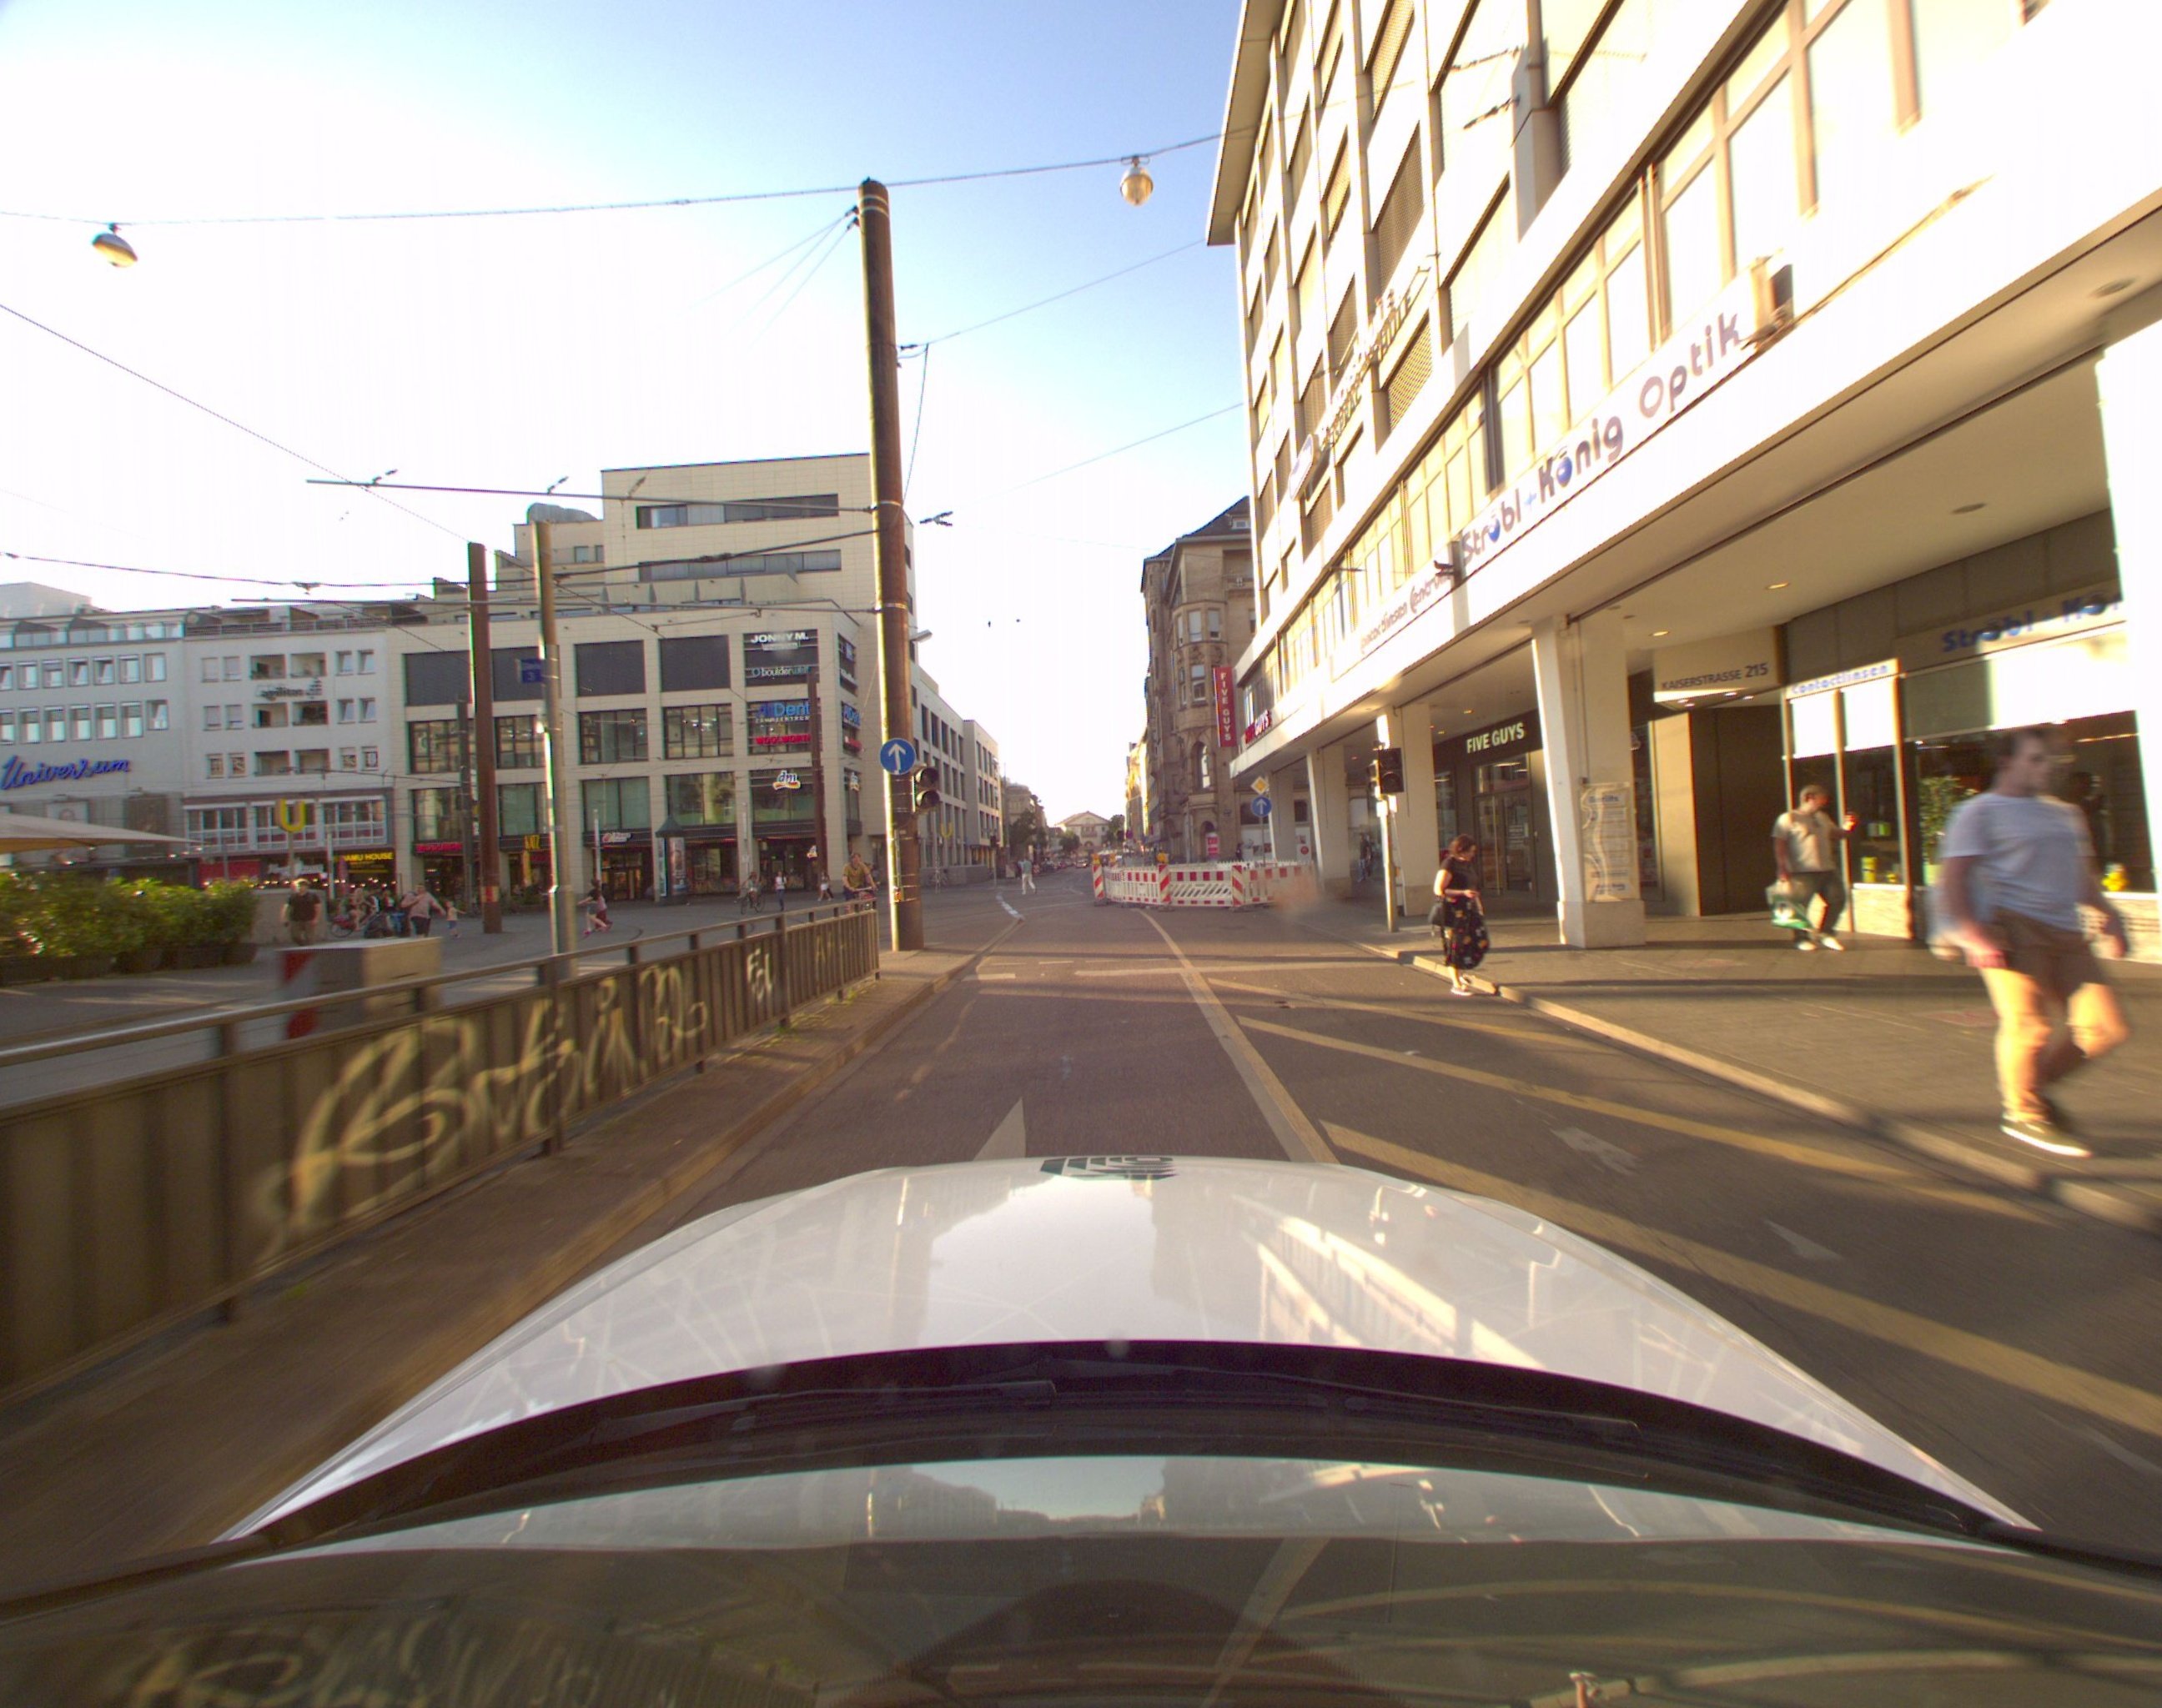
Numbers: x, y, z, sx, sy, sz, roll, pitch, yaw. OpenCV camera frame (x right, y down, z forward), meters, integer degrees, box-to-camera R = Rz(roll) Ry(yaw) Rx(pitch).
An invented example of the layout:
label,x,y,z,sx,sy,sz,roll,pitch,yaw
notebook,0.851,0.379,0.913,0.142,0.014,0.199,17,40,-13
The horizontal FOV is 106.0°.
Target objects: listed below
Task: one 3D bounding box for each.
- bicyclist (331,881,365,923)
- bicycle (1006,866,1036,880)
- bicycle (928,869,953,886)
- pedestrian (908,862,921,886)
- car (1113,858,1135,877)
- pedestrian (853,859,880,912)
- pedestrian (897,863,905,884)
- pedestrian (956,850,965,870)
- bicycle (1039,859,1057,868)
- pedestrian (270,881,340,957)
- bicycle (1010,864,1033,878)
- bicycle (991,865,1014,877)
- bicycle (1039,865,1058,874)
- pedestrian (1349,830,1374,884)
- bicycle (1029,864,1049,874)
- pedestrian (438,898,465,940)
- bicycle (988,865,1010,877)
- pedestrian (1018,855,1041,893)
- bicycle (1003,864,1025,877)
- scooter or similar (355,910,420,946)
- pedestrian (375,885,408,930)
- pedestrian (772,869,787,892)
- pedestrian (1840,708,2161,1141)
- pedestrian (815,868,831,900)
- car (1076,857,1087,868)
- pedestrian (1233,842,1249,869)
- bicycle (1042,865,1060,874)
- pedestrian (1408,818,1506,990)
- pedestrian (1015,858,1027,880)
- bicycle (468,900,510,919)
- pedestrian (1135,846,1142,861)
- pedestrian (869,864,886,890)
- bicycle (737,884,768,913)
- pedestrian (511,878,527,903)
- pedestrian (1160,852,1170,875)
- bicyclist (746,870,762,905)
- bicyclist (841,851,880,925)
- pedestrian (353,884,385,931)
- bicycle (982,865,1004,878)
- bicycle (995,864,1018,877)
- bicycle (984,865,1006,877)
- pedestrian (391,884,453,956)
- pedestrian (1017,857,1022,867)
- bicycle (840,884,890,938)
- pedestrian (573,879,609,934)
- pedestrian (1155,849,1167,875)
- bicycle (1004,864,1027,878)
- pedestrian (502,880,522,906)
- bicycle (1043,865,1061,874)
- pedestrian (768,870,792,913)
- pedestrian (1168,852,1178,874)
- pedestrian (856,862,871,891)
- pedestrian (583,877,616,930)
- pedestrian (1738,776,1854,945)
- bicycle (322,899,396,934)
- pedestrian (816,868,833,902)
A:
label,x,y,z,sx,sy,sz,roll,pitch,yaw
bicyclist,-26.226,1.707,29.147,0.878,1.465,0.592,-1,-1,-39
bicycle,-6.040,1.899,82.072,2.901,1.255,0.797,-3,-1,-25
bicycle,-9.915,1.635,57.417,1.688,1.122,0.451,-2,-1,4
pedestrian,-12.292,1.490,60.025,0.780,1.751,0.600,-1,-1,-2
car,3.582,1.110,68.049,1.673,1.424,3.674,-2,-1,1
pedestrian,-7.079,1.037,26.862,0.745,1.700,0.606,-3,-1,-17
pedestrian,-13.171,1.407,59.581,0.388,1.515,0.506,-3,-1,0
pedestrian,-10.241,0.531,69.068,0.679,1.681,0.600,-1,-1,-2
bicycle,-4.174,1.216,102.276,2.139,1.029,0.641,-3,-1,3
pedestrian,-17.413,1.442,18.282,0.962,1.628,0.694,-2,0,14
bicycle,-5.250,1.475,71.680,1.978,1.122,0.553,-1,-1,-28
bicycle,-7.179,1.553,74.676,1.978,1.122,0.553,-1,-1,-28
bicycle,-3.925,1.870,98.675,2.139,1.029,0.641,-3,-1,3
pedestrian,10.505,0.118,30.469,0.698,2.014,0.474,-2,-1,43
bicycle,-4.703,1.702,90.767,2.139,0.953,0.641,-3,-1,3
pedestrian,-19.440,2.016,25.163,0.407,1.243,0.488,-3,0,25
bicycle,-7.559,1.569,75.311,1.978,1.122,0.553,-1,-1,-28
pedestrian,-2.383,0.924,37.825,0.859,1.761,0.770,-2,-1,13
bicycle,-6.016,1.508,73.161,1.978,1.122,0.553,-1,-1,-28
scooter or similar,-19.970,2.134,23.475,1.087,0.904,0.892,-3,0,7
pedestrian,-26.577,2.044,31.390,0.525,1.674,0.756,-3,0,8
pedestrian,-20.664,1.791,55.754,0.569,1.526,0.793,-2,-1,13
pedestrian,4.363,0.301,3.863,0.696,1.815,0.853,-2,-1,5
pedestrian,-13.878,1.618,43.820,0.526,1.674,0.651,-3,0,2
car,0.137,1.568,153.942,1.986,1.904,4.001,-2,-1,1
pedestrian,9.823,0.113,49.916,0.816,1.611,0.713,-2,-1,1
bicycle,-3.702,1.877,100.196,2.139,1.029,0.641,-3,-1,3
pedestrian,3.860,0.500,8.391,0.698,1.693,0.540,-1,-1,-6
pedestrian,-4.949,1.216,67.087,0.833,1.720,0.680,-3,-1,-6
bicycle,-34.377,3.203,47.291,0.445,0.986,1.939,-2,-1,37
pedestrian,6.487,-0.091,91.939,0.642,1.690,0.671,-3,-1,-1
pedestrian,-13.616,1.525,54.495,0.760,1.659,0.819,-2,-1,15
bicycle,-13.425,1.794,33.326,0.572,1.098,2.019,-1,-1,-5
pedestrian,-37.996,2.460,55.041,0.671,1.680,0.575,-2,-1,2
pedestrian,6.326,0.747,61.523,0.623,1.690,0.671,-3,-1,0
bicyclist,-13.414,1.373,33.384,0.420,1.427,0.563,-1,-1,-4
bicyclist,-4.944,0.752,18.231,0.612,1.593,0.784,-2,-1,-30
pedestrian,-26.786,2.006,30.649,0.525,1.674,0.652,-3,0,8
bicycle,-8.322,1.673,76.875,1.978,1.122,0.553,-1,-1,-28
bicycle,-6.794,1.537,74.028,1.978,1.122,0.553,-1,-1,-28
bicycle,-7.997,1.586,75.923,1.978,1.122,0.553,-1,-1,-28
pedestrian,-15.748,1.556,19.461,0.825,1.628,0.808,-2,0,23
pedestrian,-9.713,1.269,128.460,0.677,1.621,0.573,-3,-1,1
bicycle,-4.812,1.247,18.077,0.632,1.103,1.609,-3,-1,-30
pedestrian,-15.125,1.613,25.161,0.825,1.614,0.688,-3,0,-24
pedestrian,5.272,0.535,53.866,0.623,1.690,0.671,-3,-1,0
bicycle,-5.840,1.497,72.440,1.978,1.122,0.553,-1,-1,-28
pedestrian,-37.852,2.596,54.177,0.810,1.680,0.684,-2,-1,2
bicycle,-3.558,1.867,99.460,2.139,1.029,0.641,-3,-1,3
pedestrian,-12.203,1.511,33.057,0.644,1.674,0.532,-3,0,10
pedestrian,6.981,0.679,61.945,0.623,1.690,0.626,-3,-1,-1
pedestrian,-14.226,1.468,53.352,0.569,1.855,0.819,-2,-1,13
pedestrian,-15.453,1.569,26.140,0.773,1.614,0.662,-3,0,-24
pedestrian,8.010,0.067,9.143,0.697,1.815,0.630,-2,-1,-1
bicycle,-25.974,2.240,29.336,1.928,1.115,0.693,-1,-1,-39
pedestrian,-13.184,1.587,41.863,0.526,1.674,0.651,-3,0,2
